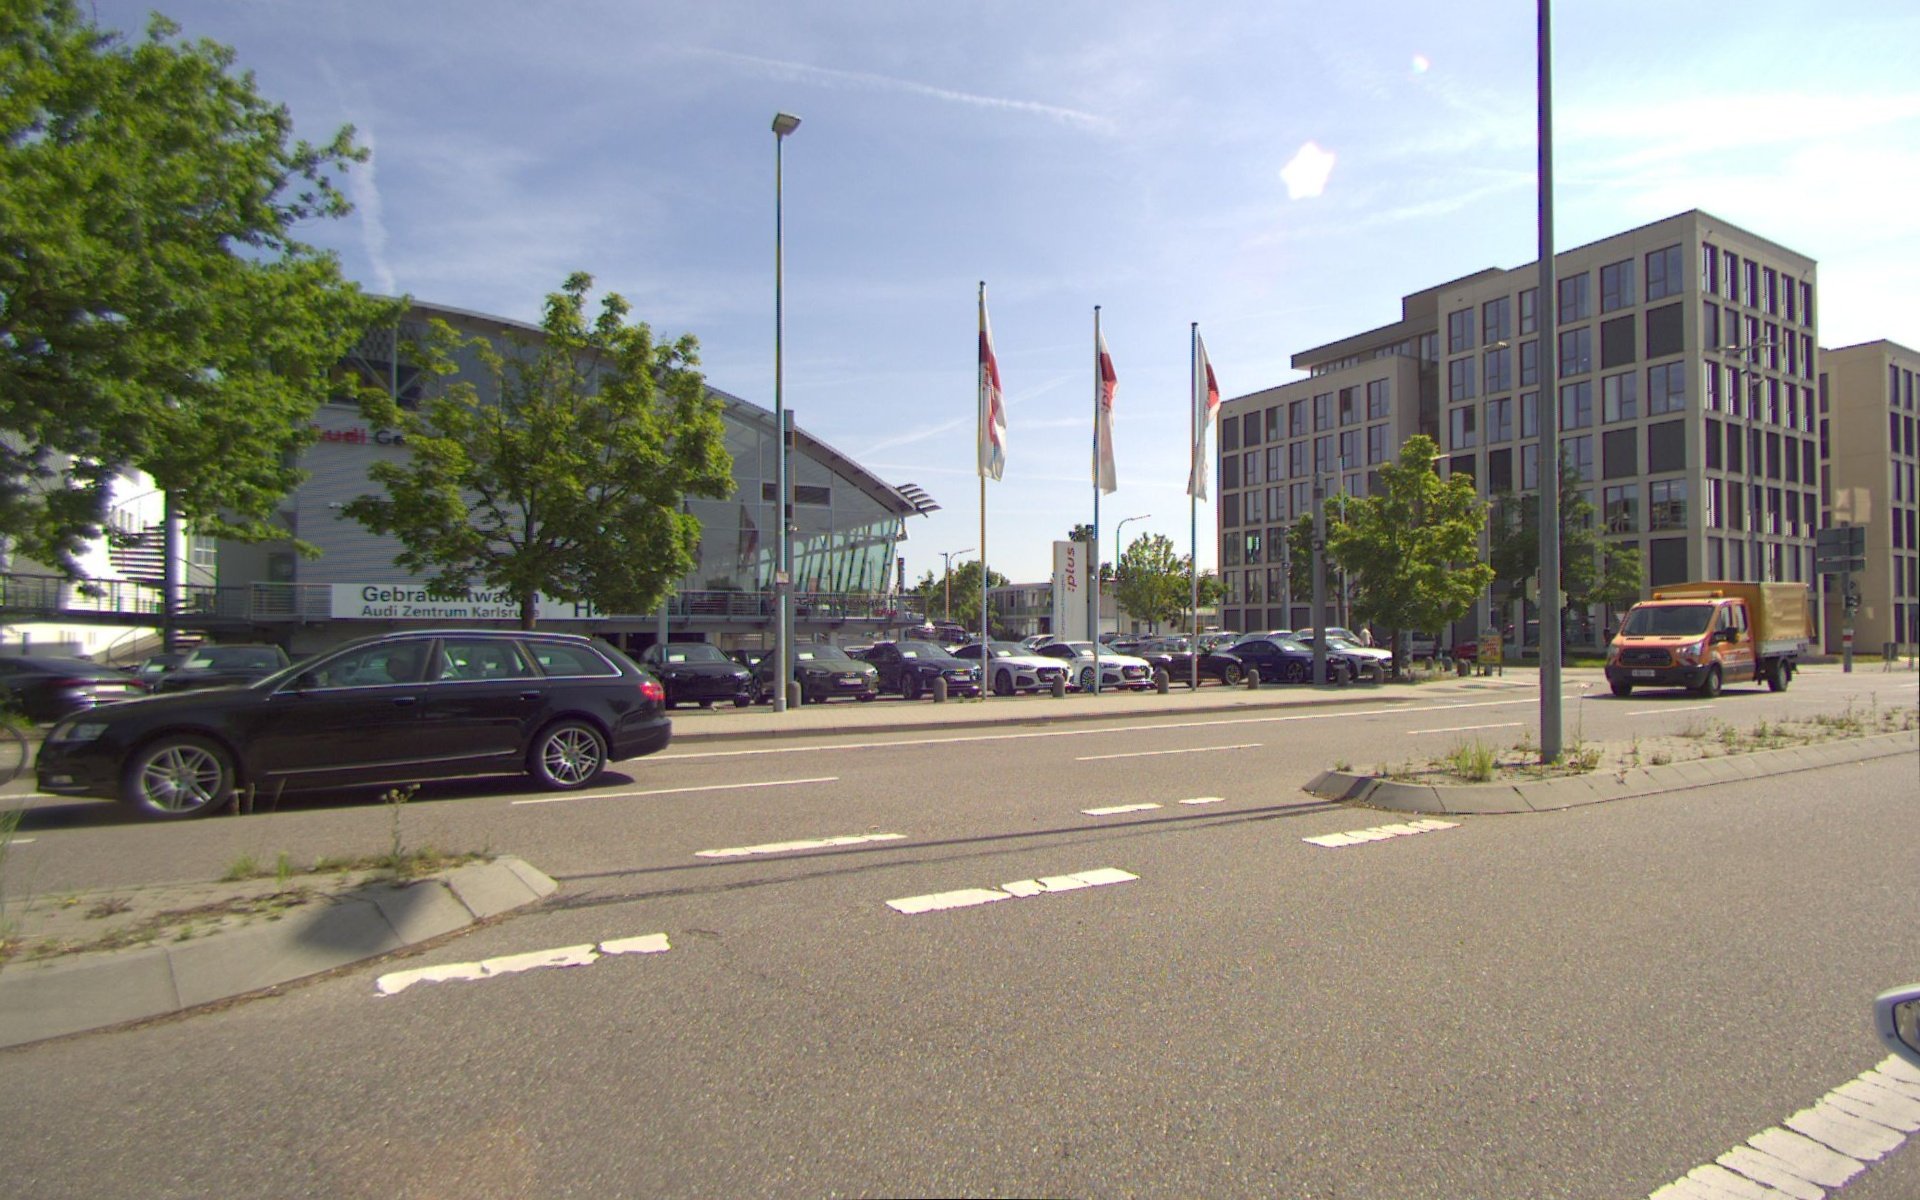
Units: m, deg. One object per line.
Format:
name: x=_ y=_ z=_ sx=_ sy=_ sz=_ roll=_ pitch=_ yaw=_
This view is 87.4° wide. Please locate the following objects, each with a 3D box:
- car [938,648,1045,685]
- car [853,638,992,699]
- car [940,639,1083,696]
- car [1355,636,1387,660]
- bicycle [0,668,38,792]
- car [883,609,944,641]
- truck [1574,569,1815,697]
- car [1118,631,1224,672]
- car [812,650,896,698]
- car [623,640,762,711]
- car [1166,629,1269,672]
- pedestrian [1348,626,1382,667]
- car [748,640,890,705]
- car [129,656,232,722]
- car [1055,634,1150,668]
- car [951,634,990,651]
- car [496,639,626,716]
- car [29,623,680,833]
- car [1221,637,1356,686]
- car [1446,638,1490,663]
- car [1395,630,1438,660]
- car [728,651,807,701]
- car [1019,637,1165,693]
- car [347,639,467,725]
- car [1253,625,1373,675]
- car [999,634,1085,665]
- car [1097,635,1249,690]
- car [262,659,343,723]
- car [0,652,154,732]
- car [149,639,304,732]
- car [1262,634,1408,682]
car: x=1.278 y=2.643 z=40.587 sx=4.018 sy=1.396 sz=1.779 roll=1 pitch=-3 yaw=-31
car: x=-1.004 y=1.696 z=24.451 sx=1.815 sy=1.336 sz=3.972 roll=1 pitch=-5 yaw=-29
car: x=1.242 y=1.763 z=25.944 sx=1.846 sy=1.336 sz=3.970 roll=1 pitch=-5 yaw=-30
car: x=27.731 y=3.240 z=67.848 sx=1.772 sy=1.533 sz=4.000 roll=-1 pitch=-2 yaw=19
bicycle: x=-10.105 y=1.259 z=9.520 sx=1.900 sy=1.165 sz=0.569 roll=1 pitch=-2 yaw=-28
car: x=-3.120 y=1.651 z=66.883 sx=2.066 sy=1.932 sz=4.508 roll=5 pitch=-4 yaw=-32
truck: x=17.446 y=0.811 z=23.723 sx=6.602 sy=2.658 sz=2.362 roll=1 pitch=-4 yaw=-34
car: x=9.571 y=2.303 z=45.486 sx=4.722 sy=1.525 sz=1.779 roll=-2 pitch=-1 yaw=-31
car: x=-3.750 y=2.543 z=35.163 sx=1.647 sy=1.493 sz=3.491 roll=1 pitch=-2 yaw=-30
car: x=-5.901 y=1.645 z=21.774 sx=1.809 sy=1.372 sz=4.260 roll=1 pitch=-5 yaw=-31
car: x=11.165 y=2.160 z=43.498 sx=4.325 sy=1.564 sz=1.779 roll=-2 pitch=-1 yaw=-31
pedestrian: x=17.614 y=2.007 z=43.690 sx=0.906 sy=1.772 sz=0.996 roll=1 pitch=-2 yaw=-30
car: x=-3.356 y=1.690 z=23.228 sx=1.833 sy=1.352 sz=4.157 roll=1 pitch=-5 yaw=-30
car: x=-19.998 y=2.224 z=25.897 sx=1.671 sy=1.456 sz=3.797 roll=1 pitch=-2 yaw=-32
car: x=7.168 y=2.533 z=50.355 sx=4.578 sy=1.461 sz=1.779 roll=-2 pitch=-1 yaw=-31
car: x=1.218 y=4.872 z=115.700 sx=4.189 sy=1.965 sz=1.885 roll=1 pitch=-2 yaw=-30
car: x=-8.162 y=1.572 z=20.347 sx=1.815 sy=1.372 sz=4.091 roll=1 pitch=-5 yaw=-31
car: x=-5.095 y=1.000 z=9.126 sx=4.612 sy=1.478 sz=1.837 roll=1 pitch=-4 yaw=-32
car: x=10.160 y=1.864 z=31.324 sx=1.744 sy=1.421 sz=3.815 roll=1 pitch=-3 yaw=-31
car: x=31.314 y=3.100 z=62.047 sx=1.772 sy=1.434 sz=4.031 roll=-1 pitch=-2 yaw=18
car: x=29.571 y=2.908 z=65.164 sx=1.860 sy=1.845 sz=4.816 roll=-1 pitch=-2 yaw=16
car: x=-6.460 y=2.489 z=33.533 sx=1.506 sy=1.493 sz=3.490 roll=1 pitch=-2 yaw=-31
car: x=3.485 y=1.794 z=27.278 sx=1.856 sy=1.387 sz=4.055 roll=1 pitch=-5 yaw=-30
car: x=-10.435 y=1.539 z=18.902 sx=1.781 sy=1.412 sz=4.197 roll=1 pitch=-5 yaw=-30
car: x=13.581 y=1.894 z=38.582 sx=4.540 sy=1.635 sz=1.805 roll=-2 pitch=-1 yaw=-30
car: x=4.498 y=2.684 z=55.070 sx=4.506 sy=1.461 sz=1.779 roll=-1 pitch=-1 yaw=-31
car: x=6.341 y=1.811 z=29.757 sx=4.373 sy=1.515 sz=1.789 roll=1 pitch=-2 yaw=-30
car: x=-17.694 y=2.387 z=27.156 sx=1.671 sy=1.492 sz=3.798 roll=1 pitch=-2 yaw=-31
car: x=-17.442 y=1.686 z=18.694 sx=3.762 sy=1.350 sz=1.691 roll=-1 pitch=-2 yaw=8
car: x=-12.692 y=1.481 z=17.617 sx=1.788 sy=1.420 sz=4.006 roll=1 pitch=-5 yaw=-31
car: x=12.148 y=1.847 z=32.821 sx=1.876 sy=1.451 sz=4.356 roll=1 pitch=-2 yaw=-28
